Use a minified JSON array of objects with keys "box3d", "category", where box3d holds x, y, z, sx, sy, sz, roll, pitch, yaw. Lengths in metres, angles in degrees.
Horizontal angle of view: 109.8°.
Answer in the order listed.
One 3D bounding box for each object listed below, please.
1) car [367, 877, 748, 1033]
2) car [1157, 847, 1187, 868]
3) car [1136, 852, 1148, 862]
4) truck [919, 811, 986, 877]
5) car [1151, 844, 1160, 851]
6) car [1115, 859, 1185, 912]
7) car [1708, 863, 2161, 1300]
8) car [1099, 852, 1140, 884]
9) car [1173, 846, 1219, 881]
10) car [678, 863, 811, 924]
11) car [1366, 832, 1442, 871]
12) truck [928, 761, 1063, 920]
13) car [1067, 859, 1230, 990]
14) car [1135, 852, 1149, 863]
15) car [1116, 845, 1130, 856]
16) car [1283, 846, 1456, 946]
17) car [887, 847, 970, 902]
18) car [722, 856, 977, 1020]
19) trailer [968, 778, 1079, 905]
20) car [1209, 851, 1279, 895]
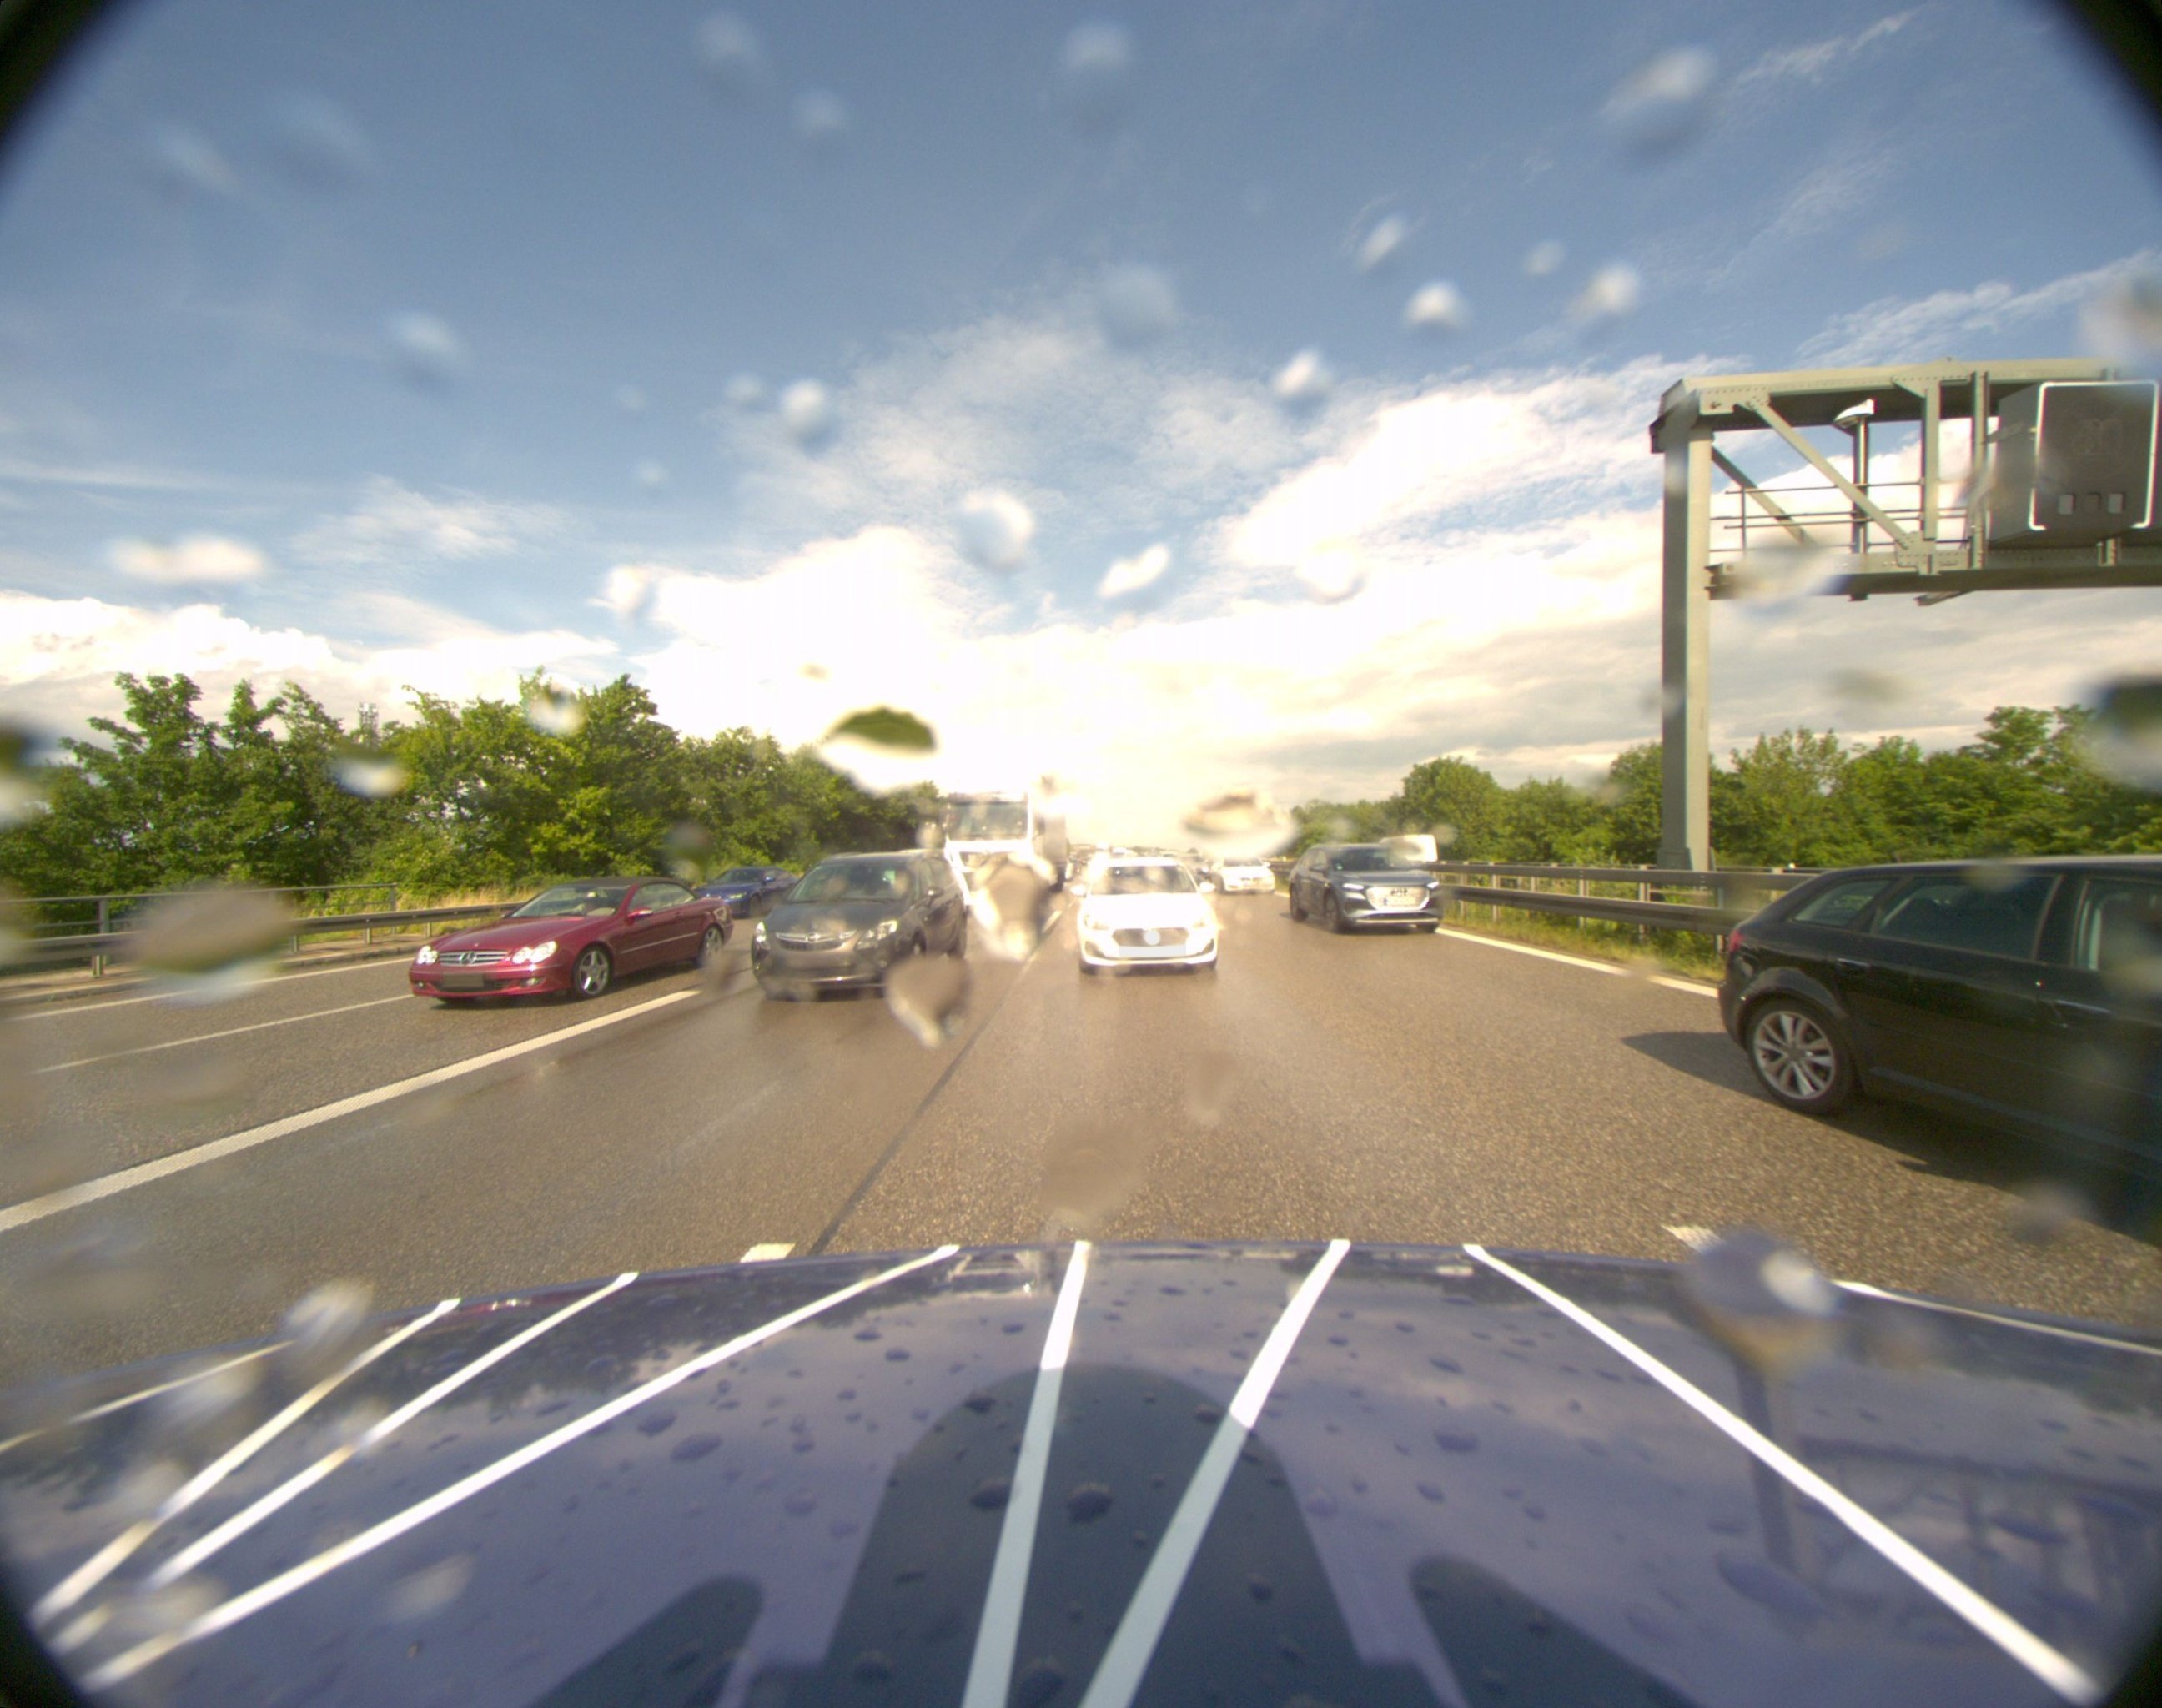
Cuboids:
[{"box3d":[-6.406,1.115,10.110,1.756,1.402,4.512,-2,0,3],"category":"car"},{"box3d":[7.267,0.259,61.229,1.998,1.471,3.999,-3,1,1],"category":"car"},{"box3d":[11.500,0.564,144.131,1.998,1.687,3.999,-3,1,1],"category":"car"},{"box3d":[-8.249,-0.653,49.553,3.112,3.932,5.866,-2,1,1],"category":"truck"},{"box3d":[19.465,-1.636,199.316,1.998,1.768,4.461,-2,0,2],"category":"car"},{"box3d":[1.916,0.843,22.156,1.728,1.330,4.287,-1,0,2],"category":"car"},{"box3d":[4.636,0.819,2.548,1.770,1.417,4.139,-2,1,3],"category":"car"},{"box3d":[1.978,0.679,40.246,1.998,1.477,3.999,-2,1,1],"category":"car"},{"box3d":[6.432,0.476,42.961,1.998,1.739,3.999,-3,1,1],"category":"car"},{"box3d":[-9.765,1.090,22.506,1.791,1.454,4.506,-2,1,2],"category":"car"},{"box3d":[17.968,-0.160,42.555,1.998,2.002,5.558,-1,0,1],"category":"car"},{"box3d":[-2.350,-0.393,23.824,2.817,4.083,7.446,-2,1,3],"category":"truck"},{"box3d":[0.861,0.853,11.215,1.886,1.446,4.548,-1,0,2],"category":"car"},{"box3d":[10.503,0.616,131.142,1.998,1.687,3.999,-3,1,1],"category":"car"},{"box3d":[6.491,-0.553,118.679,1.998,1.687,3.999,-3,1,1],"category":"car"},{"box3d":[5.336,0.680,14.696,1.875,1.597,4.229,-2,1,3],"category":"car"},{"box3d":[-5.664,0.682,28.989,1.955,1.875,5.167,-2,1,1],"category":"car"},{"box3d":[-2.706,0.881,10.090,1.883,1.638,4.396,-1,0,2],"category":"car"},{"box3d":[-1.933,-0.482,30.894,2.789,4.083,11.540,-2,1,3],"category":"trailer"},{"box3d":[5.803,0.616,27.476,1.771,1.371,3.999,-1,1,1],"category":"car"}]
